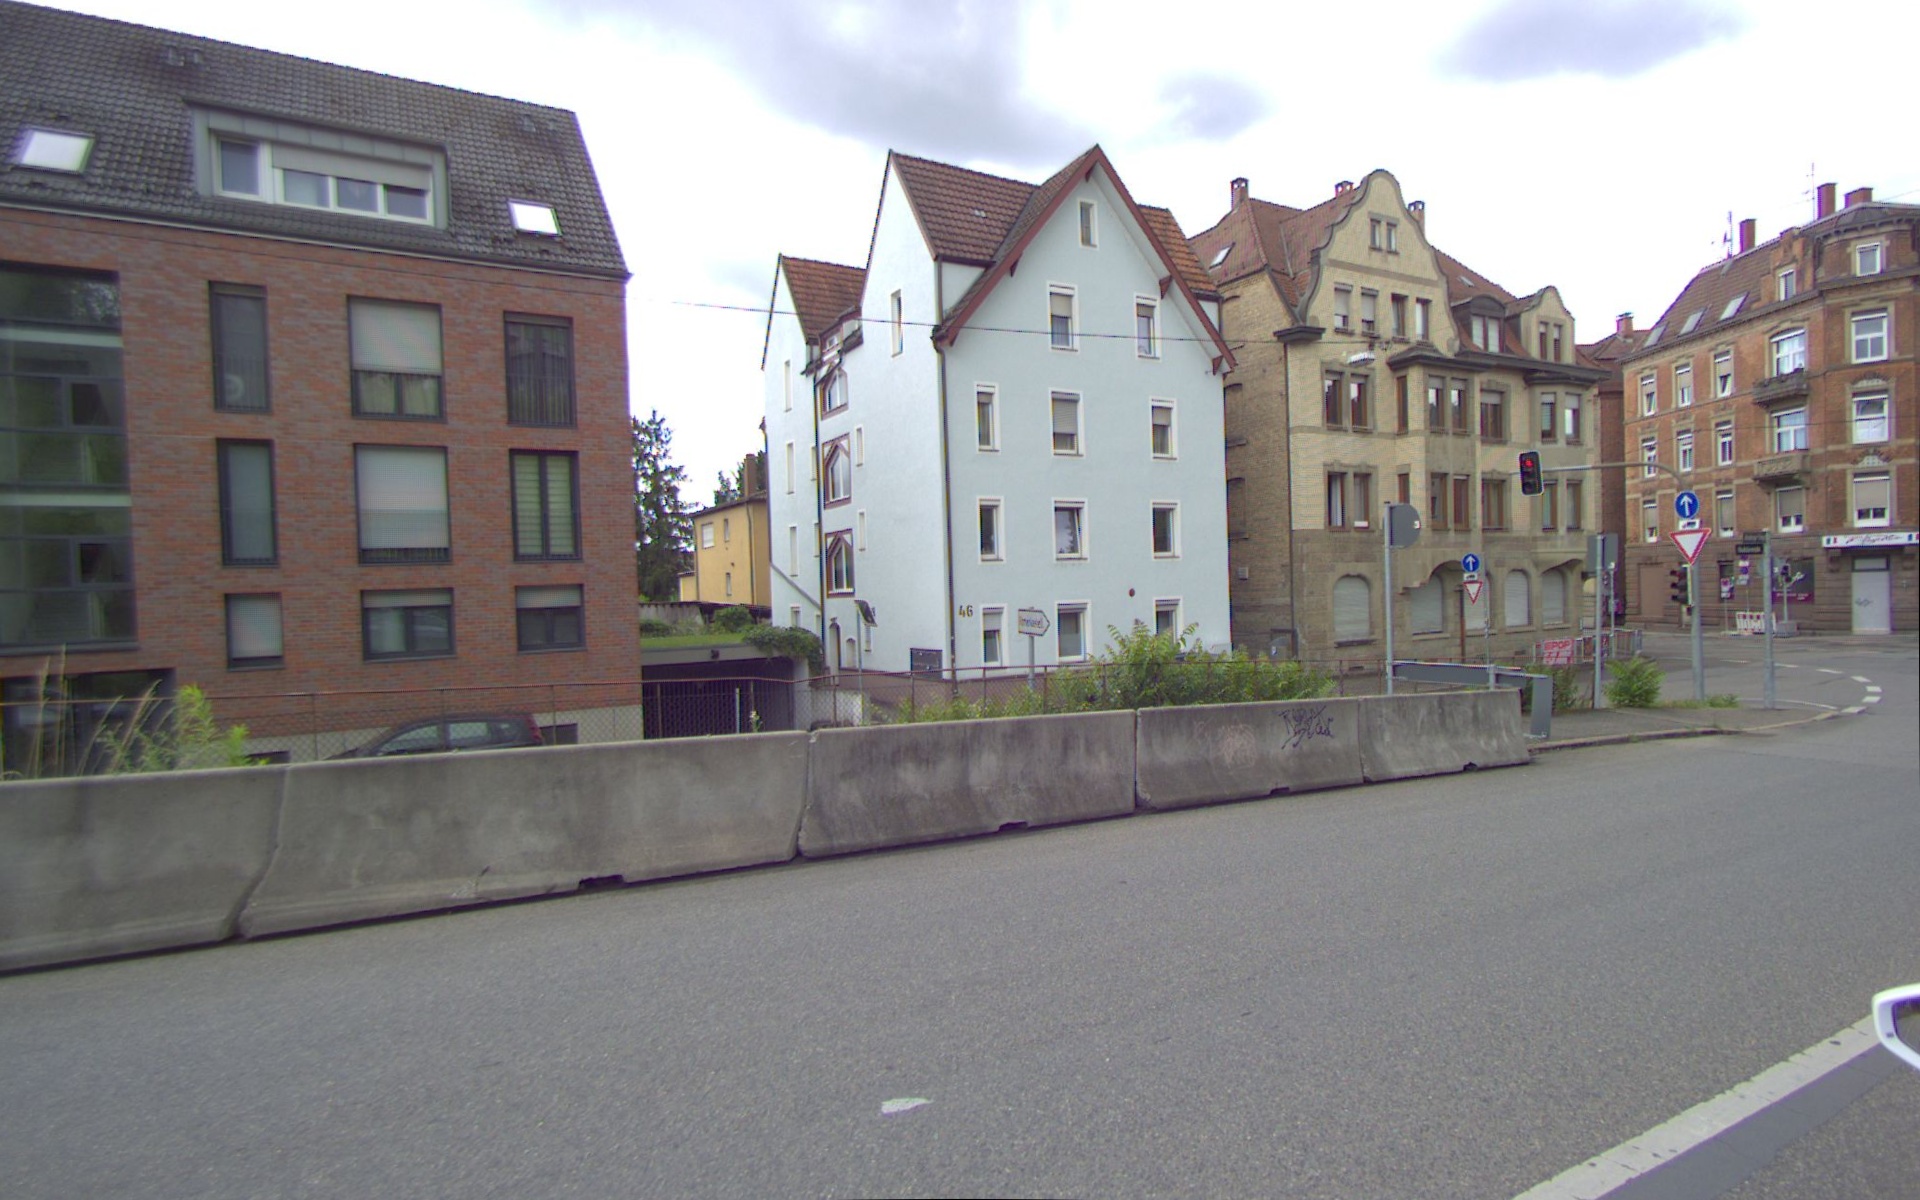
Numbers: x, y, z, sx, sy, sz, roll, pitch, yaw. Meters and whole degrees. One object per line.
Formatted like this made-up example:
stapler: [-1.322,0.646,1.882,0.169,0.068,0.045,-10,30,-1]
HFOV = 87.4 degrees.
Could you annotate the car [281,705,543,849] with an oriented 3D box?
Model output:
car: [-9.183,2.886,17.040,3.722,1.825,1.706,0,1,-30]

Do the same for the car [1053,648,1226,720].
car: [4.503,2.037,25.040,4.185,1.575,1.674,0,-3,-31]

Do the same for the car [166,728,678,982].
car: [-4.840,2.181,9.445,3.956,1.534,1.526,0,0,-33]
